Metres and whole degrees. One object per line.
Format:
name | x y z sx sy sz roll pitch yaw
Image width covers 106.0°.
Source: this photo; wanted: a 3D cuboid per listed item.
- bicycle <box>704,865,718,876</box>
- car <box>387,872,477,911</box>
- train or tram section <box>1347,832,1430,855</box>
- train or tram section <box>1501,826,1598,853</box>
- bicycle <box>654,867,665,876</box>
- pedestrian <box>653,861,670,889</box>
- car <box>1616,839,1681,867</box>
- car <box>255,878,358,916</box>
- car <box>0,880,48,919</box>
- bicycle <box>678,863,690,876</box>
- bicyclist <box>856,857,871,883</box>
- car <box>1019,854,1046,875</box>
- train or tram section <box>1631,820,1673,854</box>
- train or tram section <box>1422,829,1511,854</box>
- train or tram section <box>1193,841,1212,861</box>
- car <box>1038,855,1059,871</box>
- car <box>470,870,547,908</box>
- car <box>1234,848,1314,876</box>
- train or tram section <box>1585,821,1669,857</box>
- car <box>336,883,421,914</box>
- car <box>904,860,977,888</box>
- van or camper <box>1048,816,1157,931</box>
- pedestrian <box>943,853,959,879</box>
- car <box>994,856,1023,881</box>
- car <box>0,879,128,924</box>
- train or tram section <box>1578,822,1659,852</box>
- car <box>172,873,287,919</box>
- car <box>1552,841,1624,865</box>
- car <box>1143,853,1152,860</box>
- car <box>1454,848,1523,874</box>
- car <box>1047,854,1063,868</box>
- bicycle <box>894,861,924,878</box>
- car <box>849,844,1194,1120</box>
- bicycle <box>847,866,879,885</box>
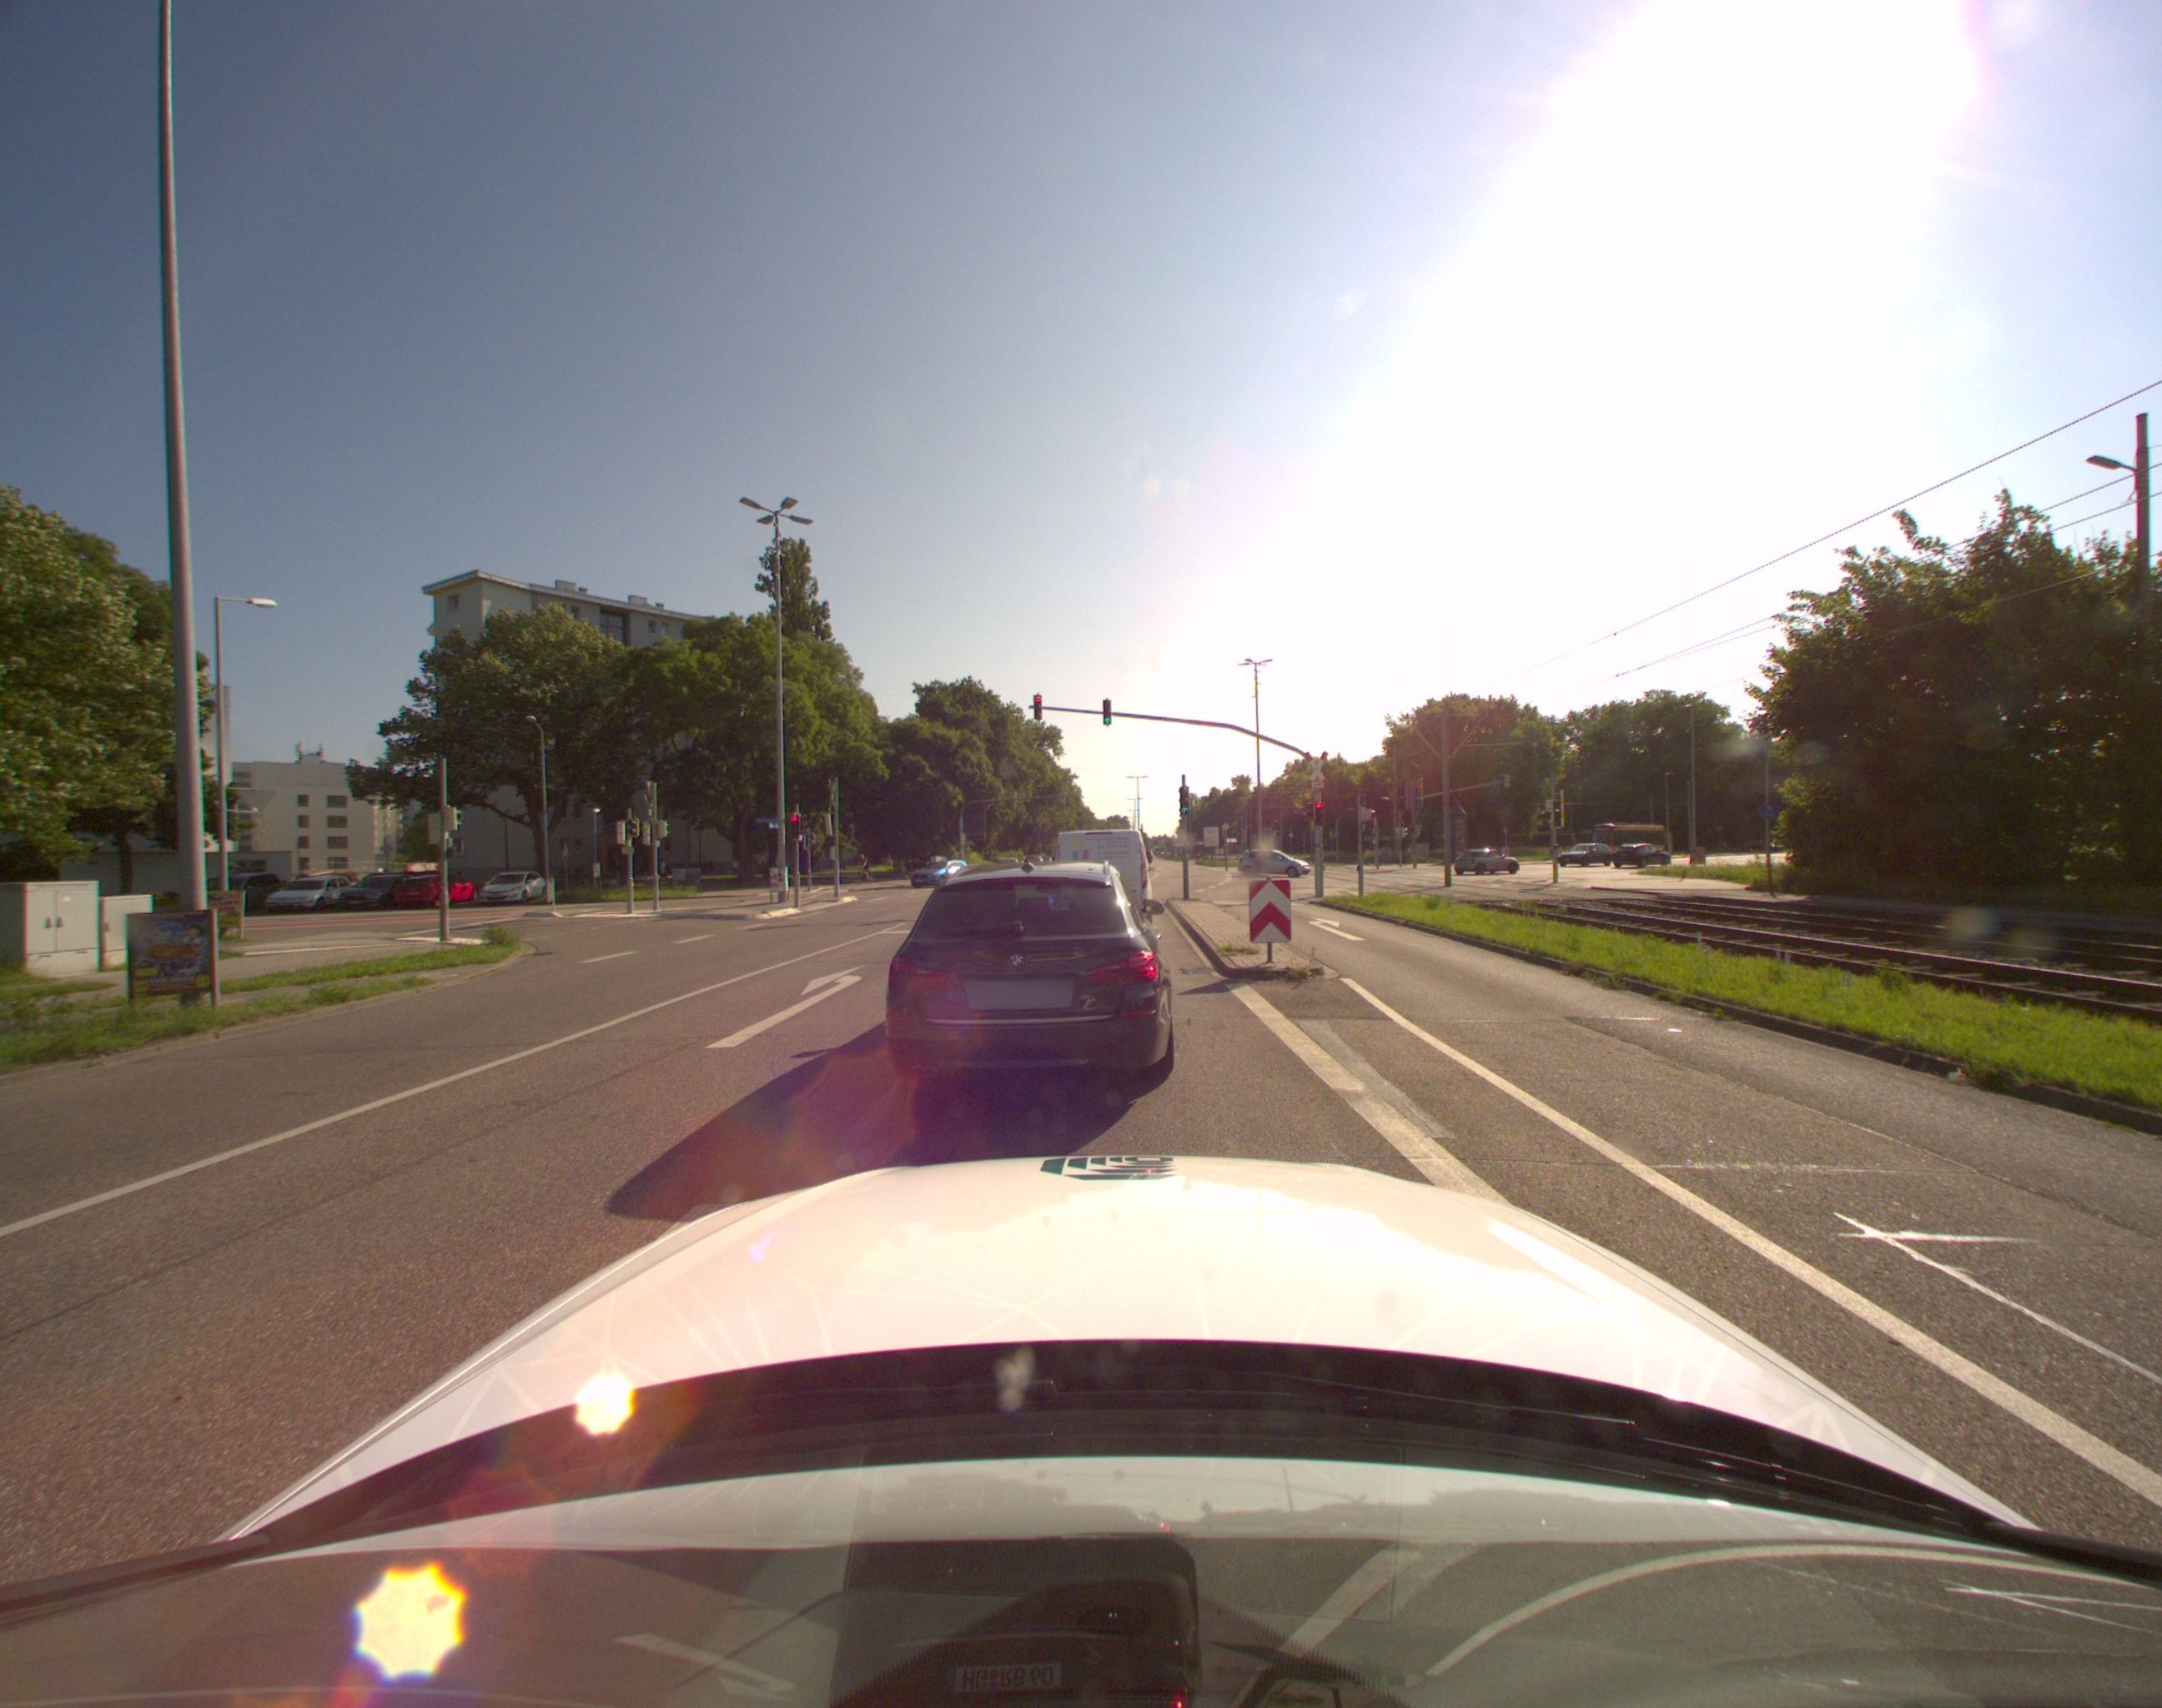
bicycle | -31.021 1.360 68.246 0.673 0.919 2.382 -1 0 -33
car | -30.821 1.736 38.842 1.782 1.415 3.982 -1 4 -14
train or tram section | 50.409 -1.680 133.846 12.279 3.579 3.073 -1 0 33
train or tram section | 67.352 -1.989 117.561 3.064 3.579 12.108 -1 0 -31
bicycle | -34.302 1.428 66.253 0.587 0.708 2.215 -1 0 -33
pedestrian | -25.756 1.276 50.001 0.619 1.713 0.707 -1 -2 14
car | 38.220 -0.109 54.806 4.633 1.722 1.635 -2 1 -27
car | -35.412 1.930 37.370 1.783 1.521 3.977 -1 0 -16
car | -46.077 2.016 33.685 1.785 1.476 4.686 -1 3 -19
bicycle | -32.678 1.278 66.946 0.615 1.066 1.896 0 -2 -34
bicyclist | -12.963 0.942 48.578 0.602 1.560 0.606 -1 0 24
car | -3.958 0.851 67.244 1.738 1.562 4.003 -3 0 3
train or tram section | 66.114 -1.925 94.575 3.015 3.579 12.308 -1 0 31
train or tram section | 60.017 -1.852 126.950 12.072 3.579 3.073 -1 0 38
train or tram section | 22.827 -0.456 153.337 2.782 3.618 12.976 0 0 6
car | -3.196 0.899 80.275 1.882 1.474 4.099 -2 0 0
car | -27.908 1.667 39.822 1.783 1.439 3.980 -1 3 -15
car | 11.297 0.451 47.686 4.151 1.562 1.867 -1 0 27
train or tram section | 57.792 -1.572 86.007 11.898 3.579 3.022 -1 0 -34
car | -32.771 2.049 38.103 1.463 1.193 3.767 -1 0 -15
car | -7.733 1.099 45.252 1.763 1.414 4.270 -1 0 26
van or camper | 0.530 0.361 17.502 1.985 2.096 4.602 -1 0 3
pedestrian | -8.769 0.815 54.890 0.811 1.752 0.933 -1 0 7
car | -4.685 0.888 52.849 1.699 1.465 4.363 -3 0 -4
car | -44.364 2.009 35.238 1.785 1.477 4.785 -1 3 -19
train or tram section | 69.673 -2.075 106.054 3.031 3.579 12.241 -1 0 3
car | -38.057 1.824 36.536 1.783 1.811 3.977 -1 0 -16
car | 35.961 -0.077 57.754 4.871 1.562 2.027 -1 0 -26
car | 13.152 0.471 161.212 1.785 1.486 3.903 -1 0 3
car | 23.458 0.380 46.892 3.532 1.383 1.595 -1 0 -22
car | -3.046 0.781 96.231 1.783 1.520 4.000 -2 0 0
bicycle | -11.630 1.046 55.095 1.902 1.119 0.632 -1 0 1
car | -0.262 0.713 6.577 1.896 1.506 4.067 -1 0 2
bicycle | -12.968 1.264 48.560 0.614 1.040 2.083 -1 0 24
